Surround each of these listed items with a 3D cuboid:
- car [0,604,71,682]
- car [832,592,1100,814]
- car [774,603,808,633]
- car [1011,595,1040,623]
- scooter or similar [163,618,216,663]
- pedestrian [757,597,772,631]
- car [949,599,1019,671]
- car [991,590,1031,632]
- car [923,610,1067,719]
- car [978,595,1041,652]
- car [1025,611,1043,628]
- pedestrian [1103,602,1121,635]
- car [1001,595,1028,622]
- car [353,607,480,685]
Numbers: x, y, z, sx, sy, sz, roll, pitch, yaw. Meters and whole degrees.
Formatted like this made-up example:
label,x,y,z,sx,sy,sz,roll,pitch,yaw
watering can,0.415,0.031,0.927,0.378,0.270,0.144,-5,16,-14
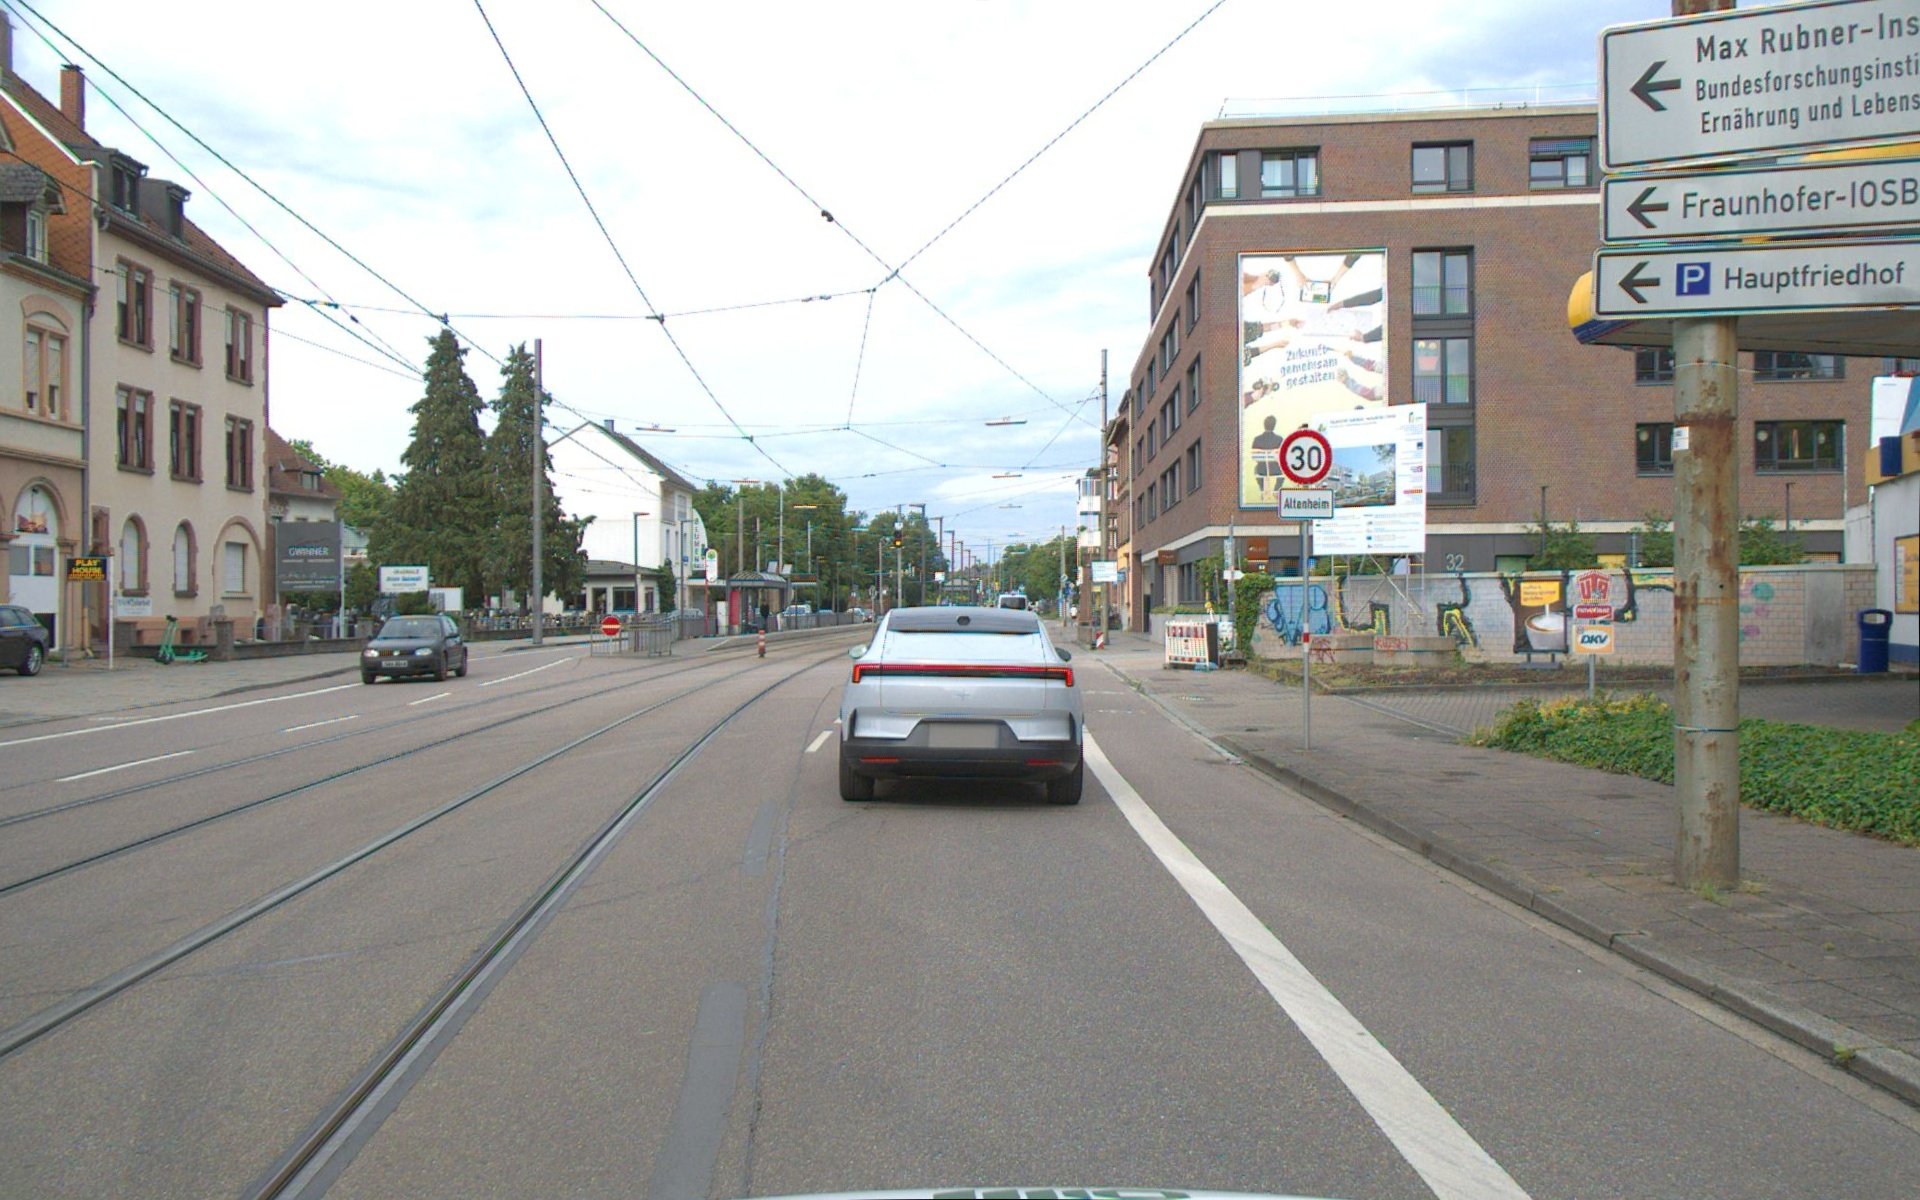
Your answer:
label,x,y,z,sx,sy,sz,roll,pitch,yaw
car,-19.651,0.840,32.430,1.953,1.519,4.900,0,-1,-3
car,-0.025,0.789,14.165,1.959,1.609,3.998,1,-1,-2
car,-11.922,1.261,117.078,1.845,2.023,4.525,-1,-1,1
car,4.828,0.661,122.343,1.953,2.049,3.999,1,-1,-1
scooter or similar,-19.589,1.017,42.035,1.163,1.121,0.522,1,-1,-32
pedestrian,-9.866,0.713,83.572,0.602,1.694,0.698,0,-1,5
car,0.640,0.867,41.781,1.646,1.717,3.824,0,-1,2
car,3.079,0.689,100.694,2.181,2.444,5.121,1,-1,-1
car,0.510,0.900,24.640,1.952,1.444,4.000,-1,0,1
car,1.677,0.793,57.476,1.953,1.847,3.999,-1,0,-1
car,9.040,2.362,202.176,1.953,2.049,3.999,1,-1,-1
pedestrian,9.098,1.109,98.705,0.940,1.882,0.976,-2,0,8
car,4.352,0.690,132.079,1.953,2.049,3.999,1,-1,-1
car,-11.960,0.992,36.648,1.755,1.557,4.136,-2,0,-5
